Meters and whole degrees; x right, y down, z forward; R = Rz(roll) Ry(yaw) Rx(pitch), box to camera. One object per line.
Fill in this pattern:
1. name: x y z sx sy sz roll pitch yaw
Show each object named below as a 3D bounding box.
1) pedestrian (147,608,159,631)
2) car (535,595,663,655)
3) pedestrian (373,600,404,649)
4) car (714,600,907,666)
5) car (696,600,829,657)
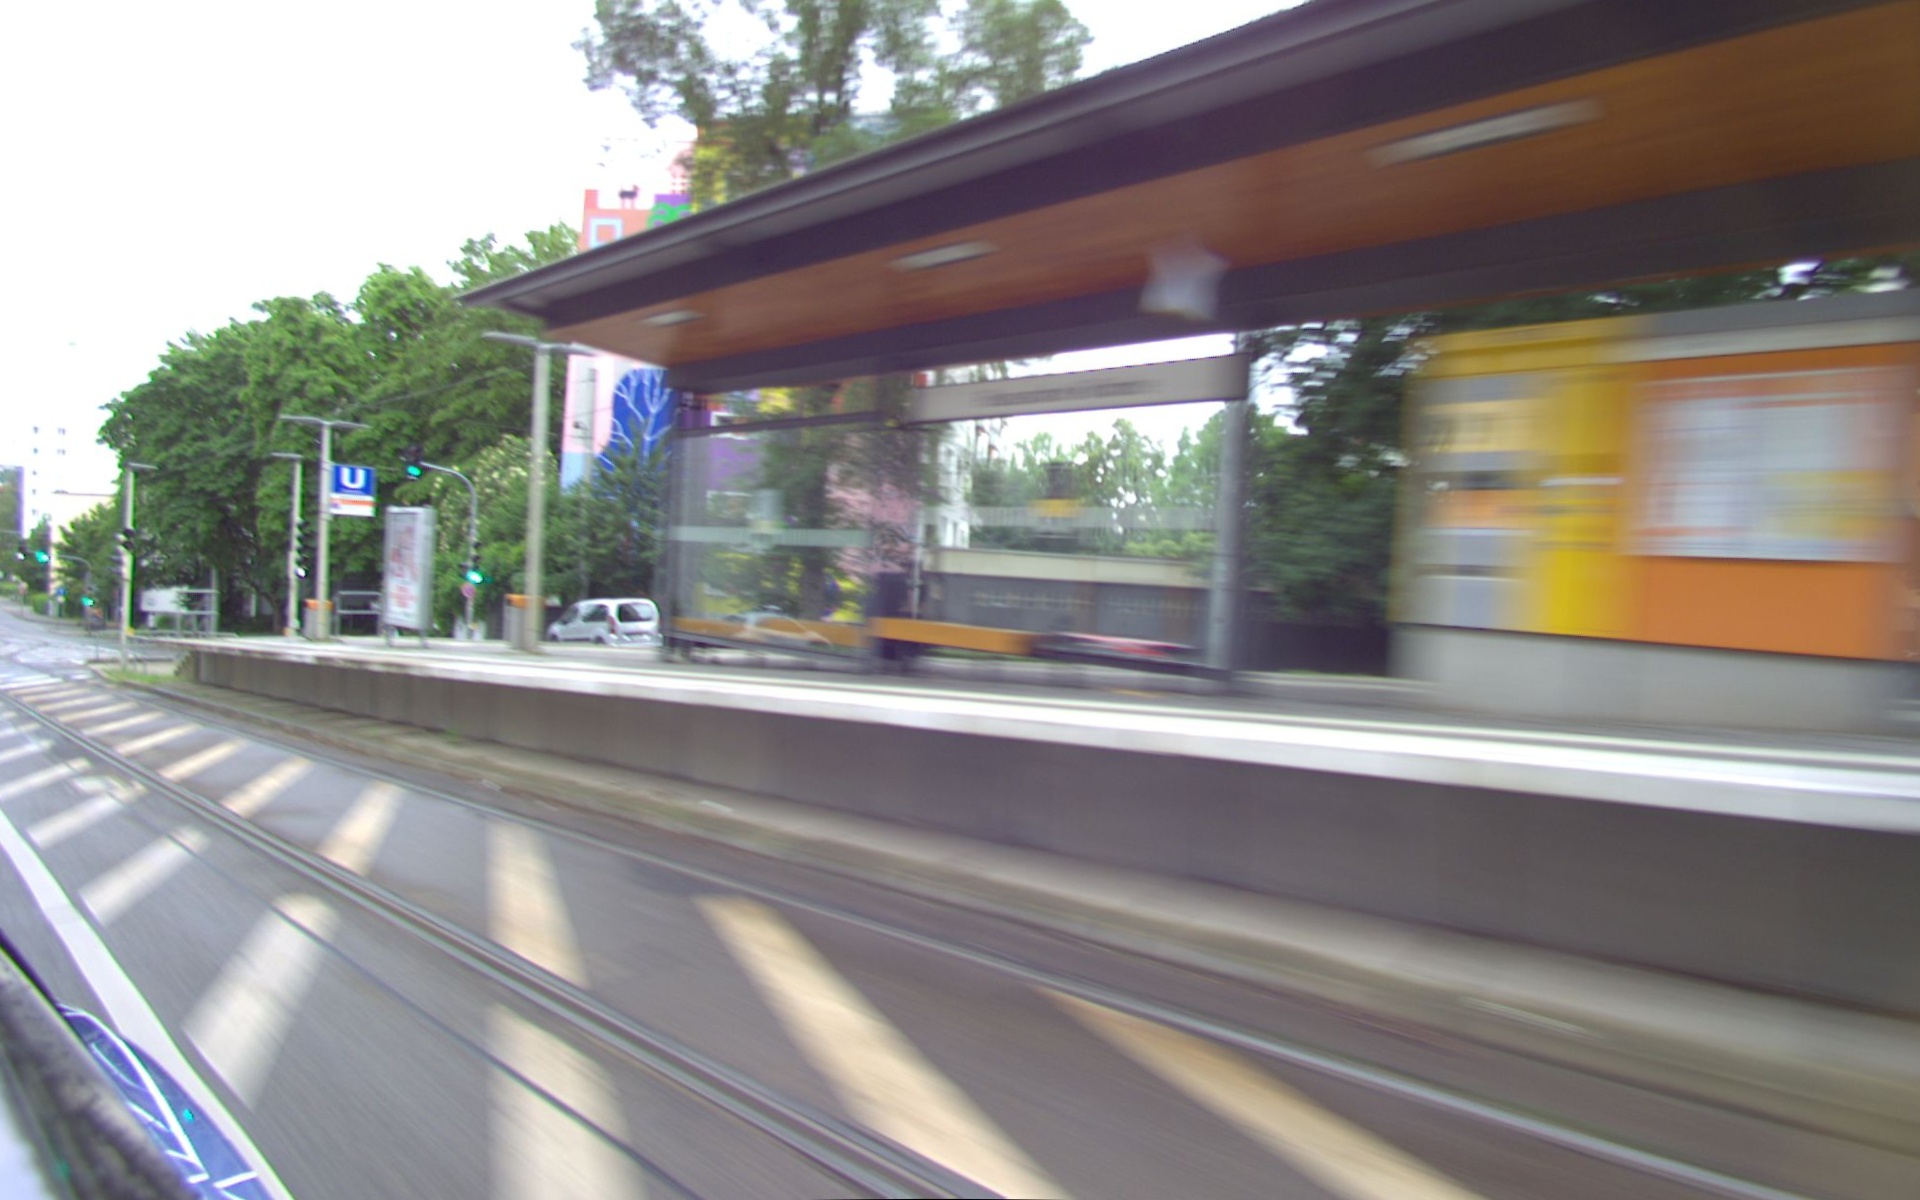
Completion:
1. pedestrian: -51.617 1.261 64.692 0.529 1.437 0.522 -1 0 44
2. car: -11.151 0.779 31.109 4.438 1.730 1.728 -1 -2 40
3. pedestrian: -19.444 0.825 34.418 0.617 1.605 0.744 -1 0 44
4. car: -3.766 0.833 25.589 4.416 1.554 1.951 1 -2 -28
5. car: -6.513 0.924 33.442 3.914 1.650 1.704 3 -1 13
